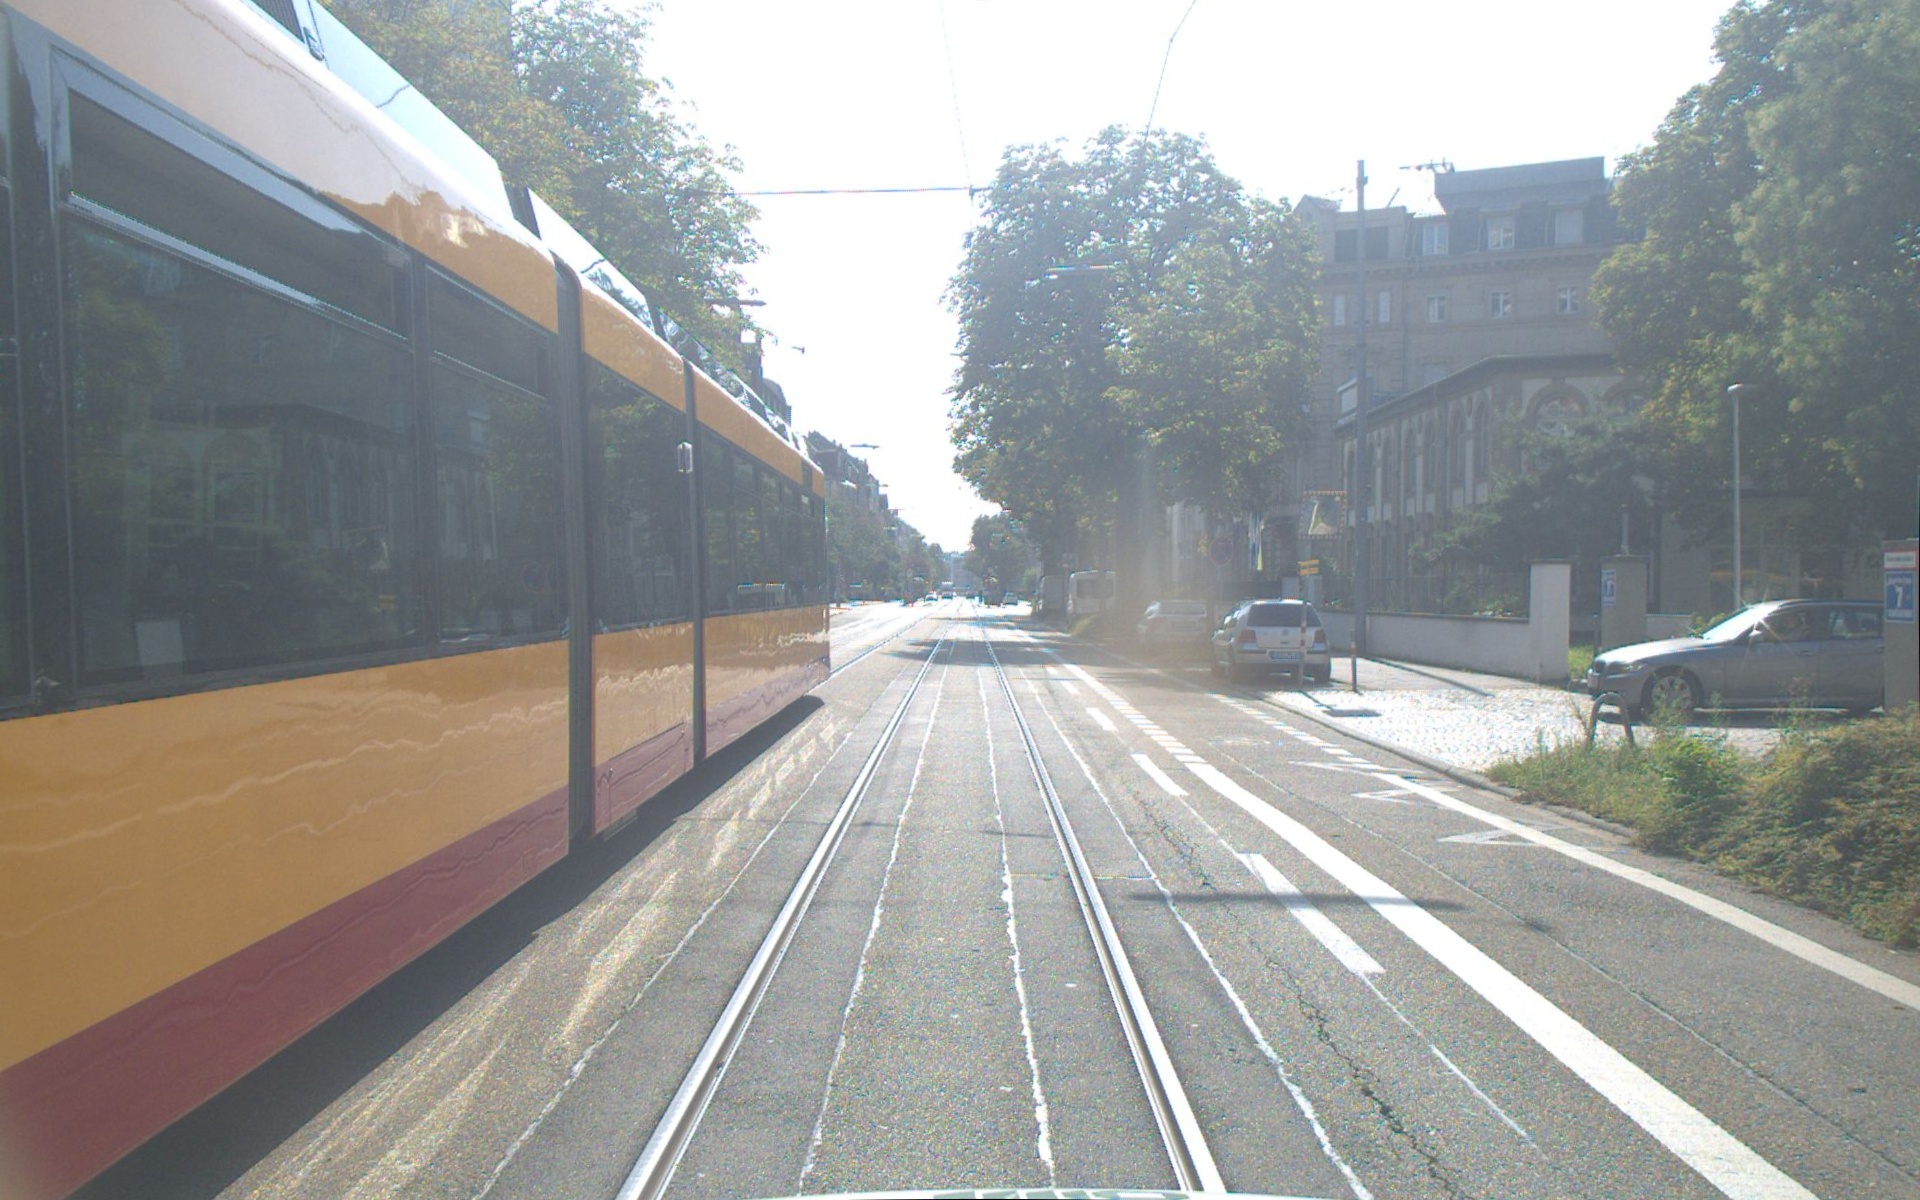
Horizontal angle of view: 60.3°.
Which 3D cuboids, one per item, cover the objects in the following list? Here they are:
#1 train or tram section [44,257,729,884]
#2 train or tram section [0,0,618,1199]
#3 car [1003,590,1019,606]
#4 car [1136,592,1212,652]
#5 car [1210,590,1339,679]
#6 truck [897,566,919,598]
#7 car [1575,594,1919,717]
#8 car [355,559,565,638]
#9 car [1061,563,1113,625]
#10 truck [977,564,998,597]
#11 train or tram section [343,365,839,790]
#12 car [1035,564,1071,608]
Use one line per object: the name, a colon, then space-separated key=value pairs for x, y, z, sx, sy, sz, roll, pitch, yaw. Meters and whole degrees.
train or tram section: x=-2.937 y=-0.150 z=9.561 sx=2.650 sy=2.906 sz=3.649 roll=1 pitch=0 yaw=0
train or tram section: x=-2.958 y=-0.112 z=4.421 sx=2.673 sy=2.899 sz=6.543 roll=1 pitch=0 yaw=0
car: x=6.219 y=-0.242 z=201.125 sx=1.952 sy=1.870 sz=4.001 roll=1 pitch=0 yaw=1
car: x=5.535 y=0.542 z=43.031 sx=1.562 sy=1.443 sz=3.635 roll=1 pitch=1 yaw=1
car: x=5.525 y=0.568 z=29.459 sx=1.655 sy=1.443 sz=3.635 roll=1 pitch=1 yaw=1
truck: x=-5.009 y=-1.699 z=159.784 sx=1.953 sy=3.027 sz=4.571 roll=0 pitch=0 yaw=0
car: x=10.042 y=0.642 z=20.397 sx=4.326 sy=1.434 sz=1.807 roll=0 pitch=0 yaw=9
car: x=-9.759 y=-0.034 z=32.491 sx=1.541 sy=1.468 sz=3.743 roll=1 pitch=1 yaw=40
car: x=5.429 y=-0.275 z=71.300 sx=1.963 sy=2.534 sz=4.478 roll=1 pitch=0 yaw=1
truck: x=2.622 y=-1.882 z=159.732 sx=1.823 sy=3.185 sz=4.351 roll=1 pitch=0 yaw=-2
train or tram section: x=-2.929 y=-0.193 z=16.685 sx=2.625 sy=2.912 sz=10.543 roll=1 pitch=0 yaw=0
car: x=5.488 y=-0.810 z=98.198 sx=1.963 sy=2.518 sz=4.478 roll=1 pitch=0 yaw=1
